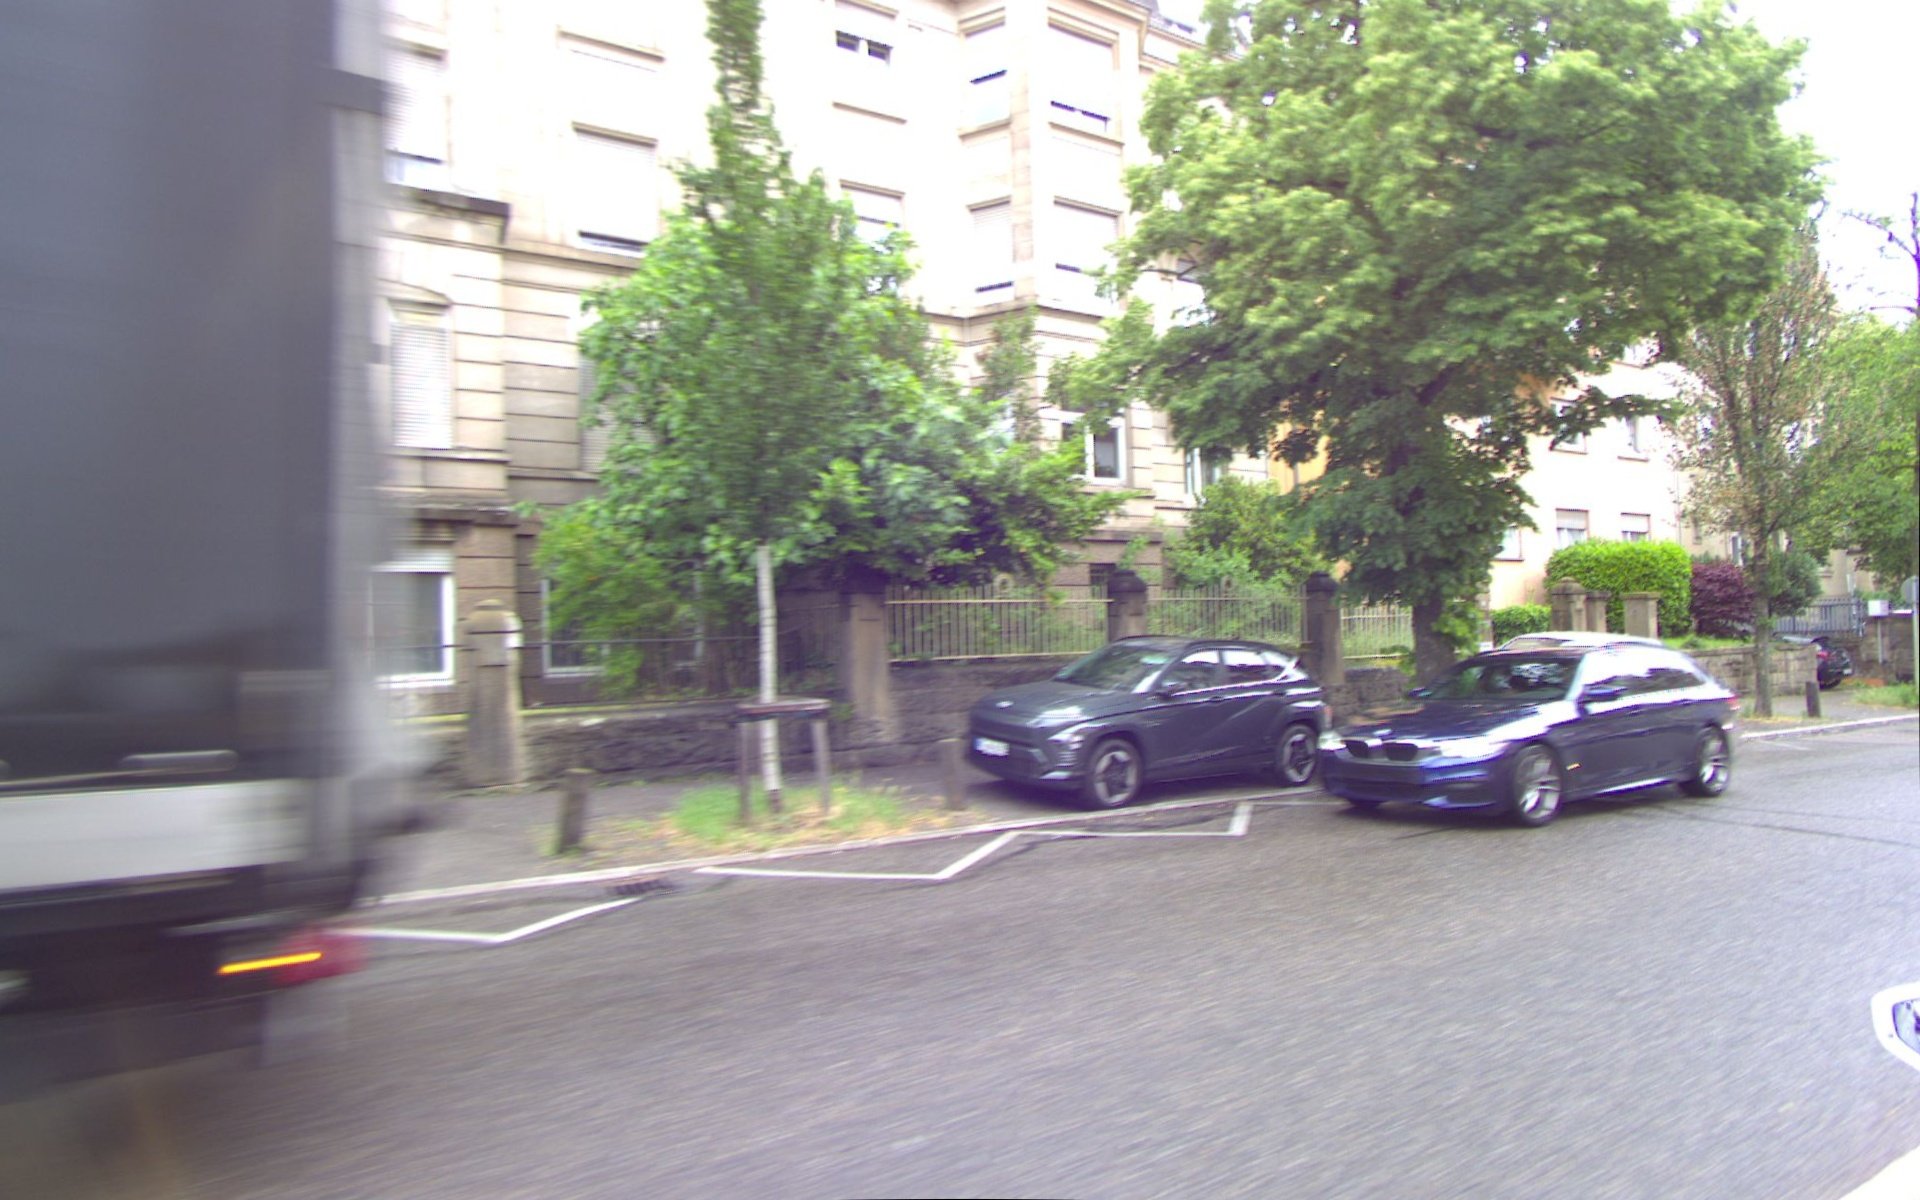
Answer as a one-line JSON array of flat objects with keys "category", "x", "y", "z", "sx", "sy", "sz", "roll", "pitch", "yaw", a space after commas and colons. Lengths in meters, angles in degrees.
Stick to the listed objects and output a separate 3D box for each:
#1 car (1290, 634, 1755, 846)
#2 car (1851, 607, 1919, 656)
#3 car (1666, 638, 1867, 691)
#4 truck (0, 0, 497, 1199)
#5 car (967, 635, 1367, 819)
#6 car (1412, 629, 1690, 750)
[{"category": "car", "x": 5.482, "y": 1.150, "z": 9.611, "sx": 4.693, "sy": 1.486, "sz": 1.764, "roll": -1, "pitch": -3, "yaw": -31}, {"category": "car", "x": 44.667, "y": 1.483, "z": 46.534, "sx": 1.992, "sy": 2.076, "sz": 4.662, "roll": 0, "pitch": 3, "yaw": -15}, {"category": "car", "x": 22.372, "y": 1.773, "z": 28.025, "sx": 1.816, "sy": 1.344, "sz": 3.968, "roll": 1, "pitch": -3, "yaw": -31}, {"category": "truck", "x": -5.897, "y": -0.340, "z": 1.553, "sx": 9.198, "sy": 3.904, "sz": 2.636, "roll": 2, "pitch": -5, "yaw": -31}, {"category": "car", "x": 2.335, "y": 1.238, "z": 10.917, "sx": 4.256, "sy": 1.580, "sz": 1.731, "roll": 2, "pitch": -1, "yaw": -33}, {"category": "car", "x": 8.916, "y": 1.277, "z": 15.075, "sx": 4.251, "sy": 1.579, "sz": 1.733, "roll": 2, "pitch": -2, "yaw": -30}]
